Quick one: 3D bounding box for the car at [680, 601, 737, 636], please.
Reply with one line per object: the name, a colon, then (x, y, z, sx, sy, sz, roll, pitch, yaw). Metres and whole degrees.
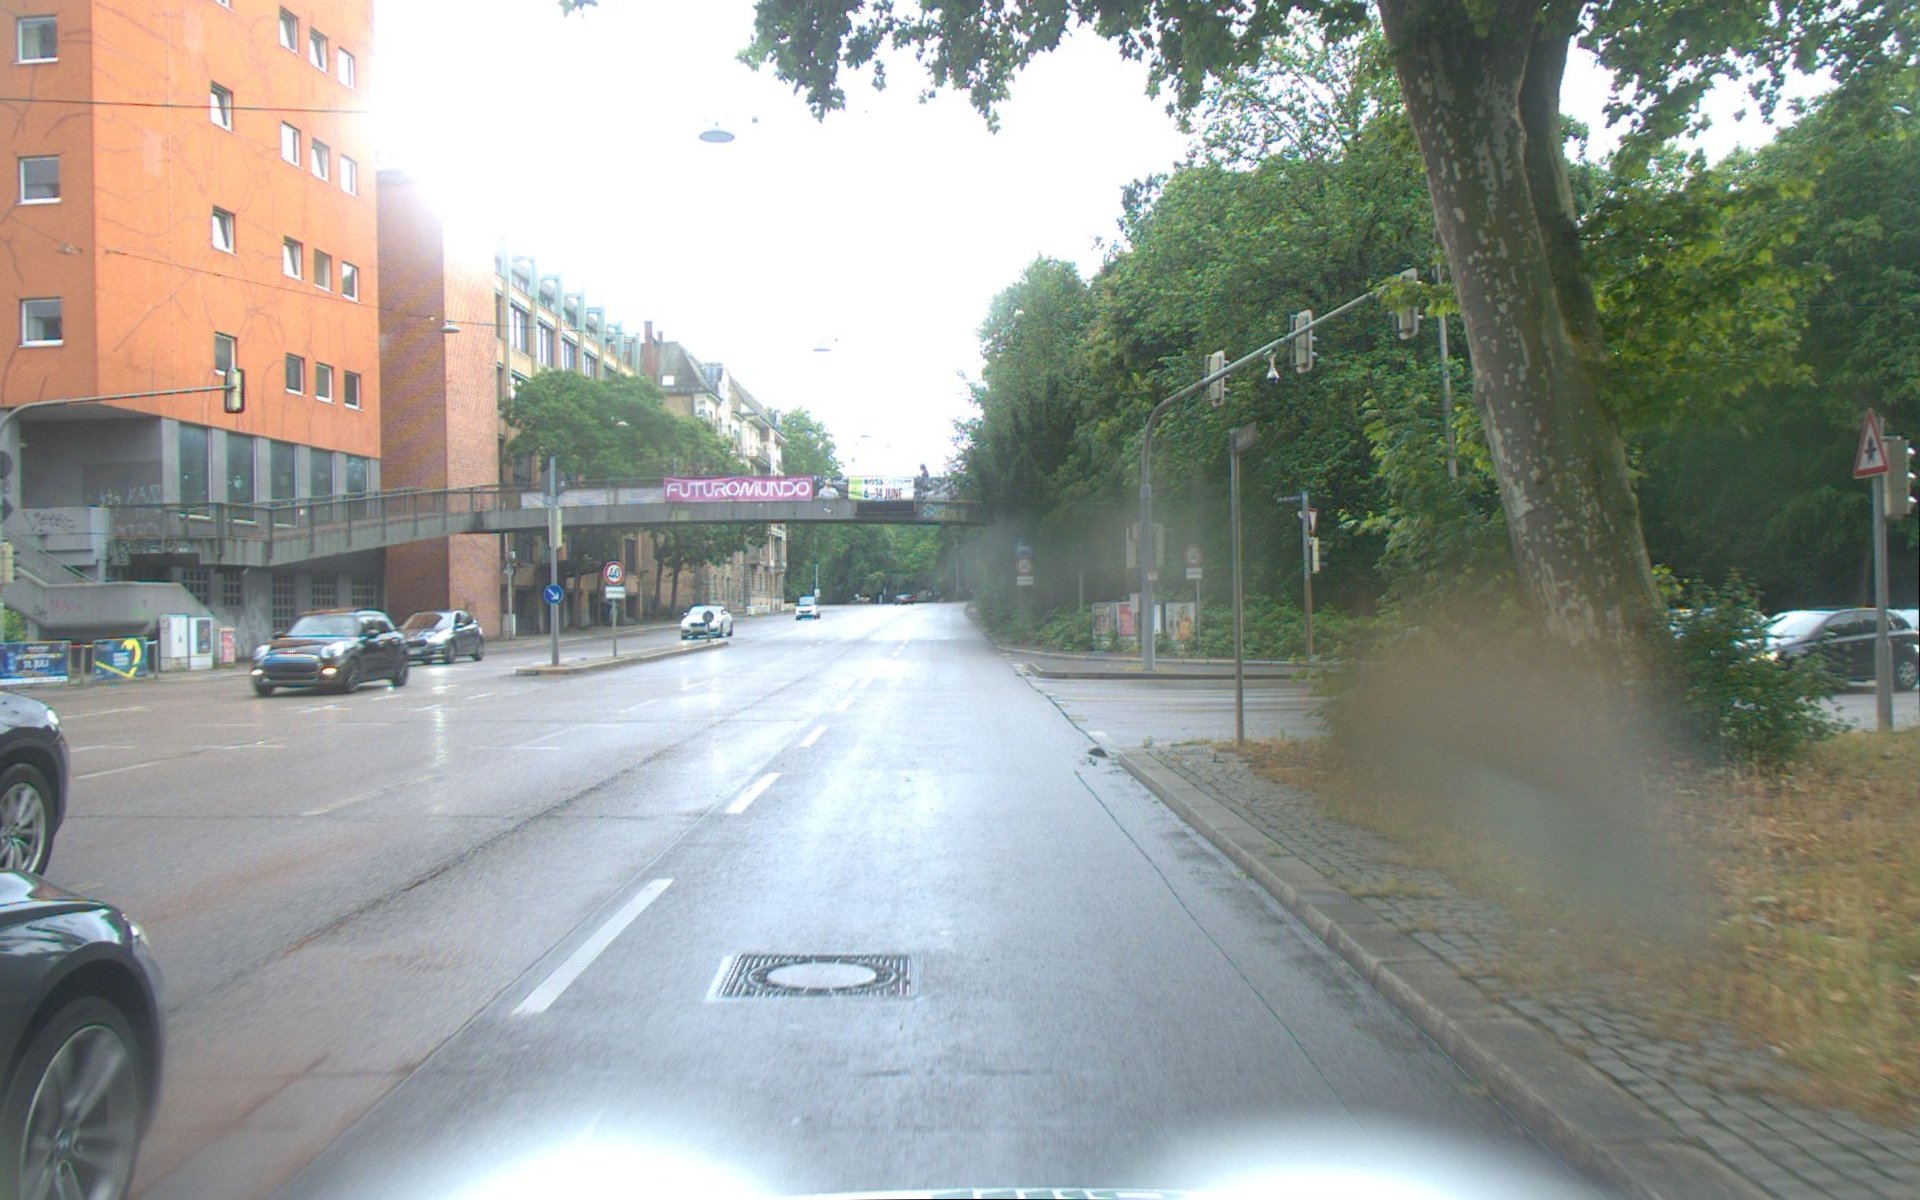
car: (-10.798, 0.774, 71.295, 1.793, 1.418, 4.404, -2, 0, 0)

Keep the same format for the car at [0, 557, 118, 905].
car: (-5.524, 0.603, 6.788, 1.772, 1.685, 4.445, 2, 0, 1)

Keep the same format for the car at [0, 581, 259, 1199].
car: (-2.663, 0.716, 1.937, 1.740, 1.483, 4.477, -1, 0, 0)

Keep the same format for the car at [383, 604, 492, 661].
car: (-14.477, 0.867, 46.036, 1.673, 1.490, 4.042, -1, 0, 1)

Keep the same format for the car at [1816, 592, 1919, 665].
car: (20.296, 0.633, 34.469, 4.362, 1.427, 1.821, 2, 0, -18)

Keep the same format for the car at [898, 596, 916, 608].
car: (-7.501, 0.261, 234.031, 1.967, 1.672, 4.368, -1, 0, -8)

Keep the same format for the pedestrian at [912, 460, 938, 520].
pedestrian: (-1.446, -4.575, 68.841, 0.935, 2.386, 1.005, 2, -1, -6)

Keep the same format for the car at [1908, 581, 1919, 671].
car: (20.242, 0.561, 31.084, 4.131, 1.709, 1.898, 2, 0, -18)

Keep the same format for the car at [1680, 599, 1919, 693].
car: (14.948, 0.803, 28.977, 4.121, 1.486, 1.784, 2, 0, -18)

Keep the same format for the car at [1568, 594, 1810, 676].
car: (14.413, 0.678, 32.728, 4.133, 1.465, 1.941, 2, 0, -18)

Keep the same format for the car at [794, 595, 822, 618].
car: (-10.607, 0.453, 115.616, 1.568, 1.525, 3.711, -2, 0, 0)

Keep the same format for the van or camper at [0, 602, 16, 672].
van or camper: (-24.751, 0.885, 38.994, 3.903, 1.656, 1.915, 0, 0, 4)

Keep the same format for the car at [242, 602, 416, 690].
car: (-11.307, 0.785, 29.913, 1.648, 1.461, 3.862, -1, 0, 0)
